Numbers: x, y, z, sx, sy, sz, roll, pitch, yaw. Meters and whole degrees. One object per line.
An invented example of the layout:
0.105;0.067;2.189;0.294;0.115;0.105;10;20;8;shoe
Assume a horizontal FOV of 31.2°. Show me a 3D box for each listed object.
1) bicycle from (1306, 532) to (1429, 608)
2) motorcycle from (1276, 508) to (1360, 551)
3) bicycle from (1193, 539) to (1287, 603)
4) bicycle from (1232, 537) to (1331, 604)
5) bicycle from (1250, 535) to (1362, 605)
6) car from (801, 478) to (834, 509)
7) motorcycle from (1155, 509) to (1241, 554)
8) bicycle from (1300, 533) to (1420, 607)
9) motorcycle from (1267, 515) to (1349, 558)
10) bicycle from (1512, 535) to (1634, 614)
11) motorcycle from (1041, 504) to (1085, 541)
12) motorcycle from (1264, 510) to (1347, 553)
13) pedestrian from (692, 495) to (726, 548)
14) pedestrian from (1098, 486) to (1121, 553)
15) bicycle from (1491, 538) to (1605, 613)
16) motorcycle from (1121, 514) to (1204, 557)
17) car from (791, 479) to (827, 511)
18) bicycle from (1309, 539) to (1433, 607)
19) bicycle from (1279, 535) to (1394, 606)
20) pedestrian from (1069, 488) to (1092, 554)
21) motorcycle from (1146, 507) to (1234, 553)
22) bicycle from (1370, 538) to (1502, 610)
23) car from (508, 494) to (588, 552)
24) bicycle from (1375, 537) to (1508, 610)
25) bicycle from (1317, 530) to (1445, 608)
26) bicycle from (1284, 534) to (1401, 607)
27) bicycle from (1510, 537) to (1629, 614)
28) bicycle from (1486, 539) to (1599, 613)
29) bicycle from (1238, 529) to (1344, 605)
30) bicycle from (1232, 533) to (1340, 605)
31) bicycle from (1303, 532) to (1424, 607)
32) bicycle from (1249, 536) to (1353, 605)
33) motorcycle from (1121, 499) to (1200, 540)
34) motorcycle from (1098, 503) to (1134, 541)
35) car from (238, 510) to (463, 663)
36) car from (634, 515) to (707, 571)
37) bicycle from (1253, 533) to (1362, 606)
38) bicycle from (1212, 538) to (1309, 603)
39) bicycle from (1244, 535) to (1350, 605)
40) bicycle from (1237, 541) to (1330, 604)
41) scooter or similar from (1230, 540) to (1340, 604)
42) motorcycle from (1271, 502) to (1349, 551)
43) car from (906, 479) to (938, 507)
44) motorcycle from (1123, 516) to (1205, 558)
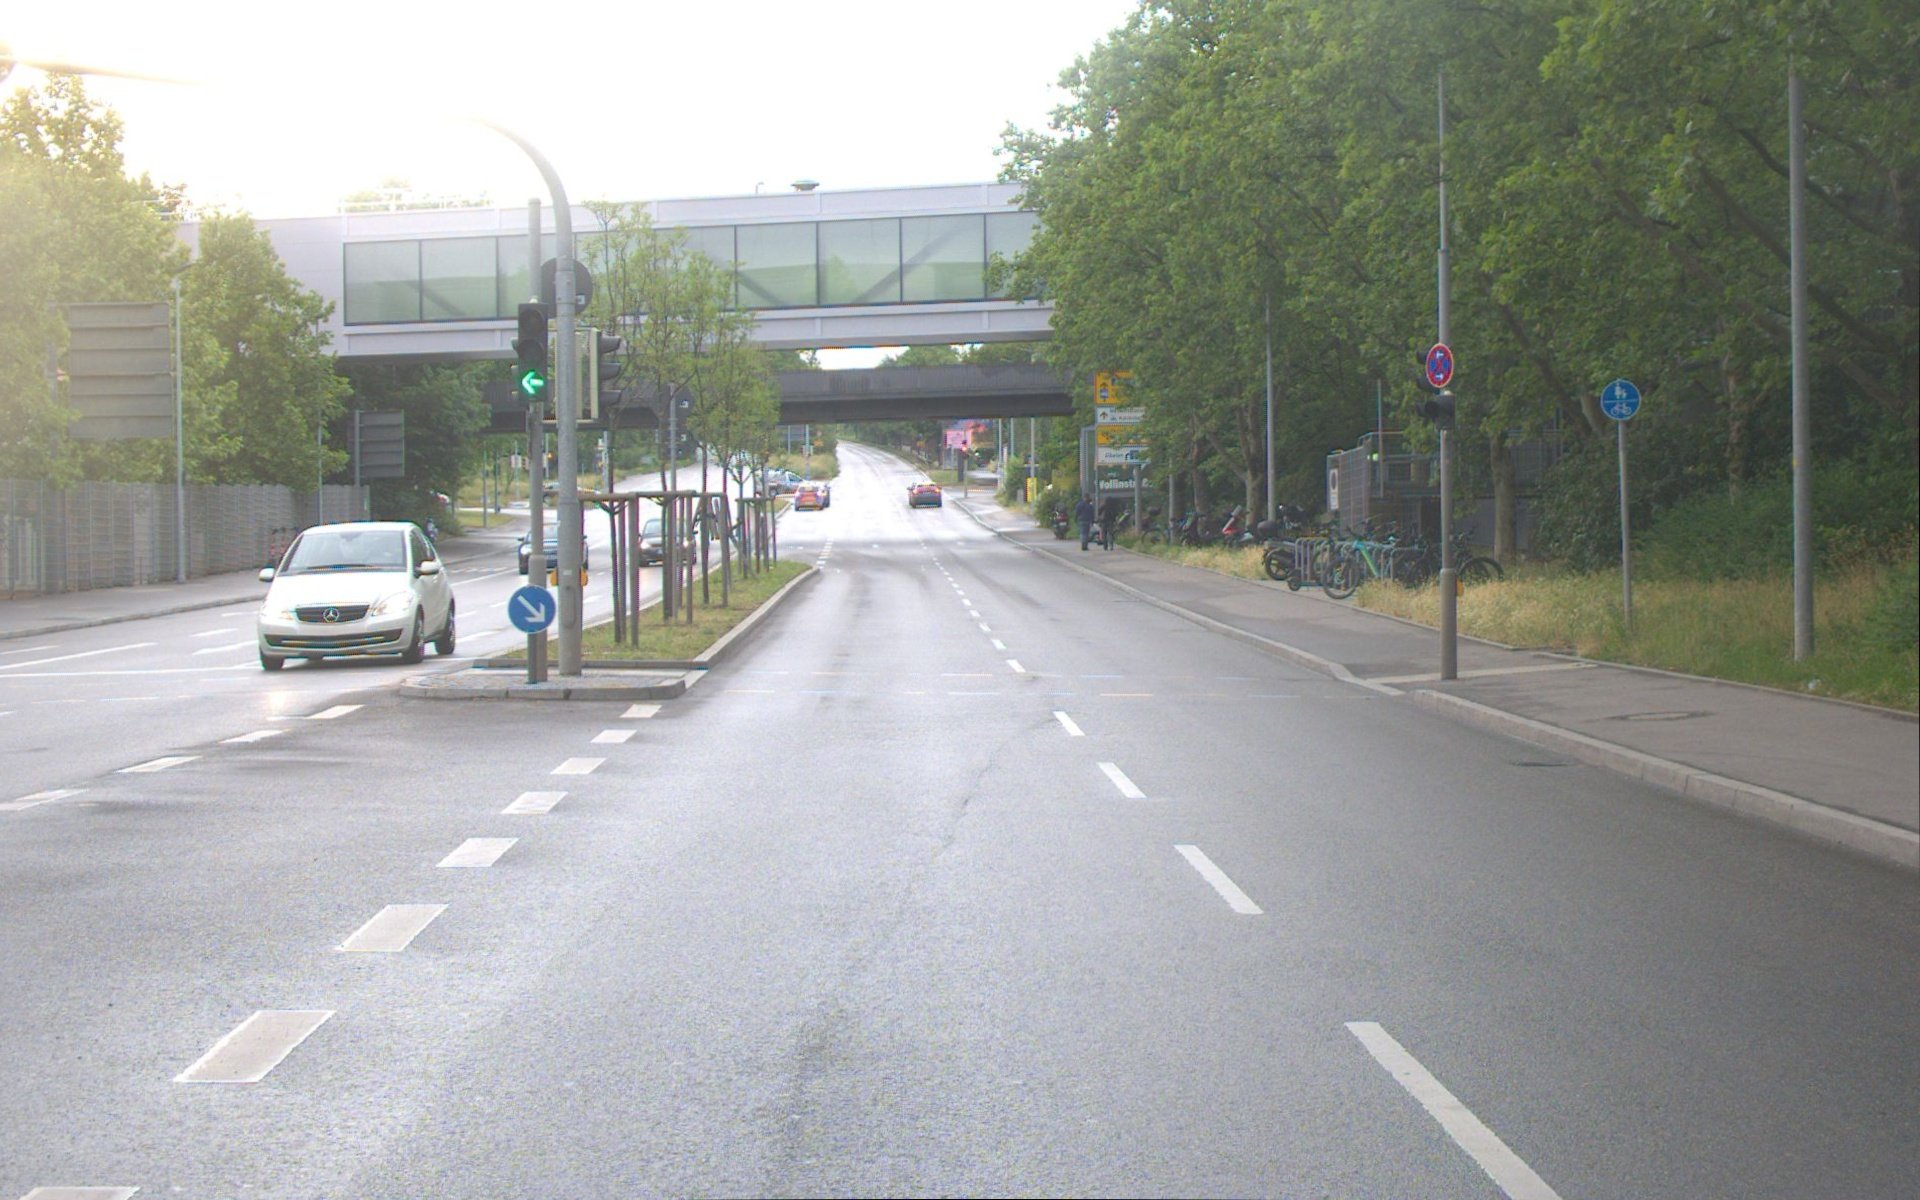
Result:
6.938;-0.514;58.544;1.990;1.229;0.541;2;0;0;bicycle
10.340;-2.035;99.388;2.369;1.198;0.722;-1;1;7;motorcycle
6.087;-0.635;74.844;1.963;1.324;0.654;2;0;0;bicycle
6.618;-0.607;70.831;1.960;1.324;0.576;2;0;0;bicycle
6.396;-0.549;63.637;1.990;1.237;0.541;2;0;0;bicycle
-8.834;-6.596;213.437;1.884;1.756;3.969;2;0;0;car
6.747;-1.935;97.378;2.369;1.198;0.722;-1;1;7;motorcycle
6.947;-0.522;59.806;1.990;1.237;0.541;2;0;0;bicycle
10.323;-1.883;101.923;2.369;1.198;0.722;-1;1;7;motorcycle
10.752;-0.444;60.319;1.990;1.324;0.576;2;0;0;bicycle
3.773;-2.820;125.855;0.790;1.307;2.377;-2;1;-19;motorcycle
10.112;-2.015;100.642;2.369;1.198;0.722;-1;1;7;motorcycle
-9.539;-2.986;130.636;0.874;1.997;0.853;-1;1;39;pedestrian
4.530;-2.438;104.429;0.622;2.007;0.605;-1;1;0;pedestrian
10.900;-0.450;63.754;1.990;1.324;0.576;2;0;0;bicycle
5.945;-1.898;101.088;2.369;1.198;0.722;-1;1;7;motorcycle
-9.097;-6.295;207.093;1.993;1.756;4.000;2;0;0;car
6.926;-0.449;57.962;1.990;1.091;0.541;2;0;0;bicycle
6.810;-0.533;62.263;1.990;1.237;0.541;2;0;0;bicycle
3.670;-2.409;104.889;0.622;2.007;0.605;-1;1;0;pedestrian
6.376;-1.935;95.208;2.369;1.198;0.722;-1;1;7;motorcycle
7.594;-0.415;54.896;1.990;1.091;0.541;2;0;0;bicycle
-12.005;-2.245;100.298;1.877;1.619;3.779;-1;1;0;car
7.600;-0.413;54.327;1.990;1.091;0.541;2;0;0;bicycle
6.896;-0.500;56.355;1.990;1.212;0.541;2;0;0;bicycle
6.825;-0.530;61.314;1.990;1.237;0.541;2;0;0;bicycle
10.927;-0.443;61.647;1.990;1.324;0.576;2;0;0;bicycle
10.903;-0.452;64.378;1.990;1.324;0.576;2;0;0;bicycle
6.536;-0.652;68.028;1.990;1.425;0.723;2;0;0;bicycle
6.283;-0.592;66.351;1.990;1.324;0.576;2;0;0;bicycle
6.945;-0.520;59.229;1.990;1.237;0.541;2;0;0;bicycle
6.827;-0.595;68.882;1.990;1.324;0.576;2;0;0;bicycle
6.231;-2.484;106.636;2.369;1.198;0.722;-1;1;7;motorcycle
5.482;-2.733;120.893;0.790;1.307;2.377;-2;1;-9;motorcycle
-6.875;-0.185;39.119;1.877;1.619;3.779;-1;1;0;car
-8.716;-1.736;103.857;1.877;1.619;3.779;-1;1;0;car
6.615;-0.580;65.542;1.990;1.324;0.576;2;0;0;bicycle
6.386;-0.621;73.123;1.963;1.324;0.654;2;0;0;bicycle
6.597;-0.585;67.295;1.990;1.324;0.576;2;0;0;bicycle
7.172;-0.607;76.319;1.963;1.324;0.654;2;0;0;bicycle
6.090;-0.523;64.429;1.990;1.134;0.541;2;0;0;scooter or similar
10.951;-2.288;107.498;2.369;1.471;0.722;-1;1;7;motorcycle
-2.246;-6.297;203.360;1.875;1.492;4.068;2;0;0;car
6.058;-1.867;102.003;2.369;1.198;0.722;-1;1;7;motorcycle
